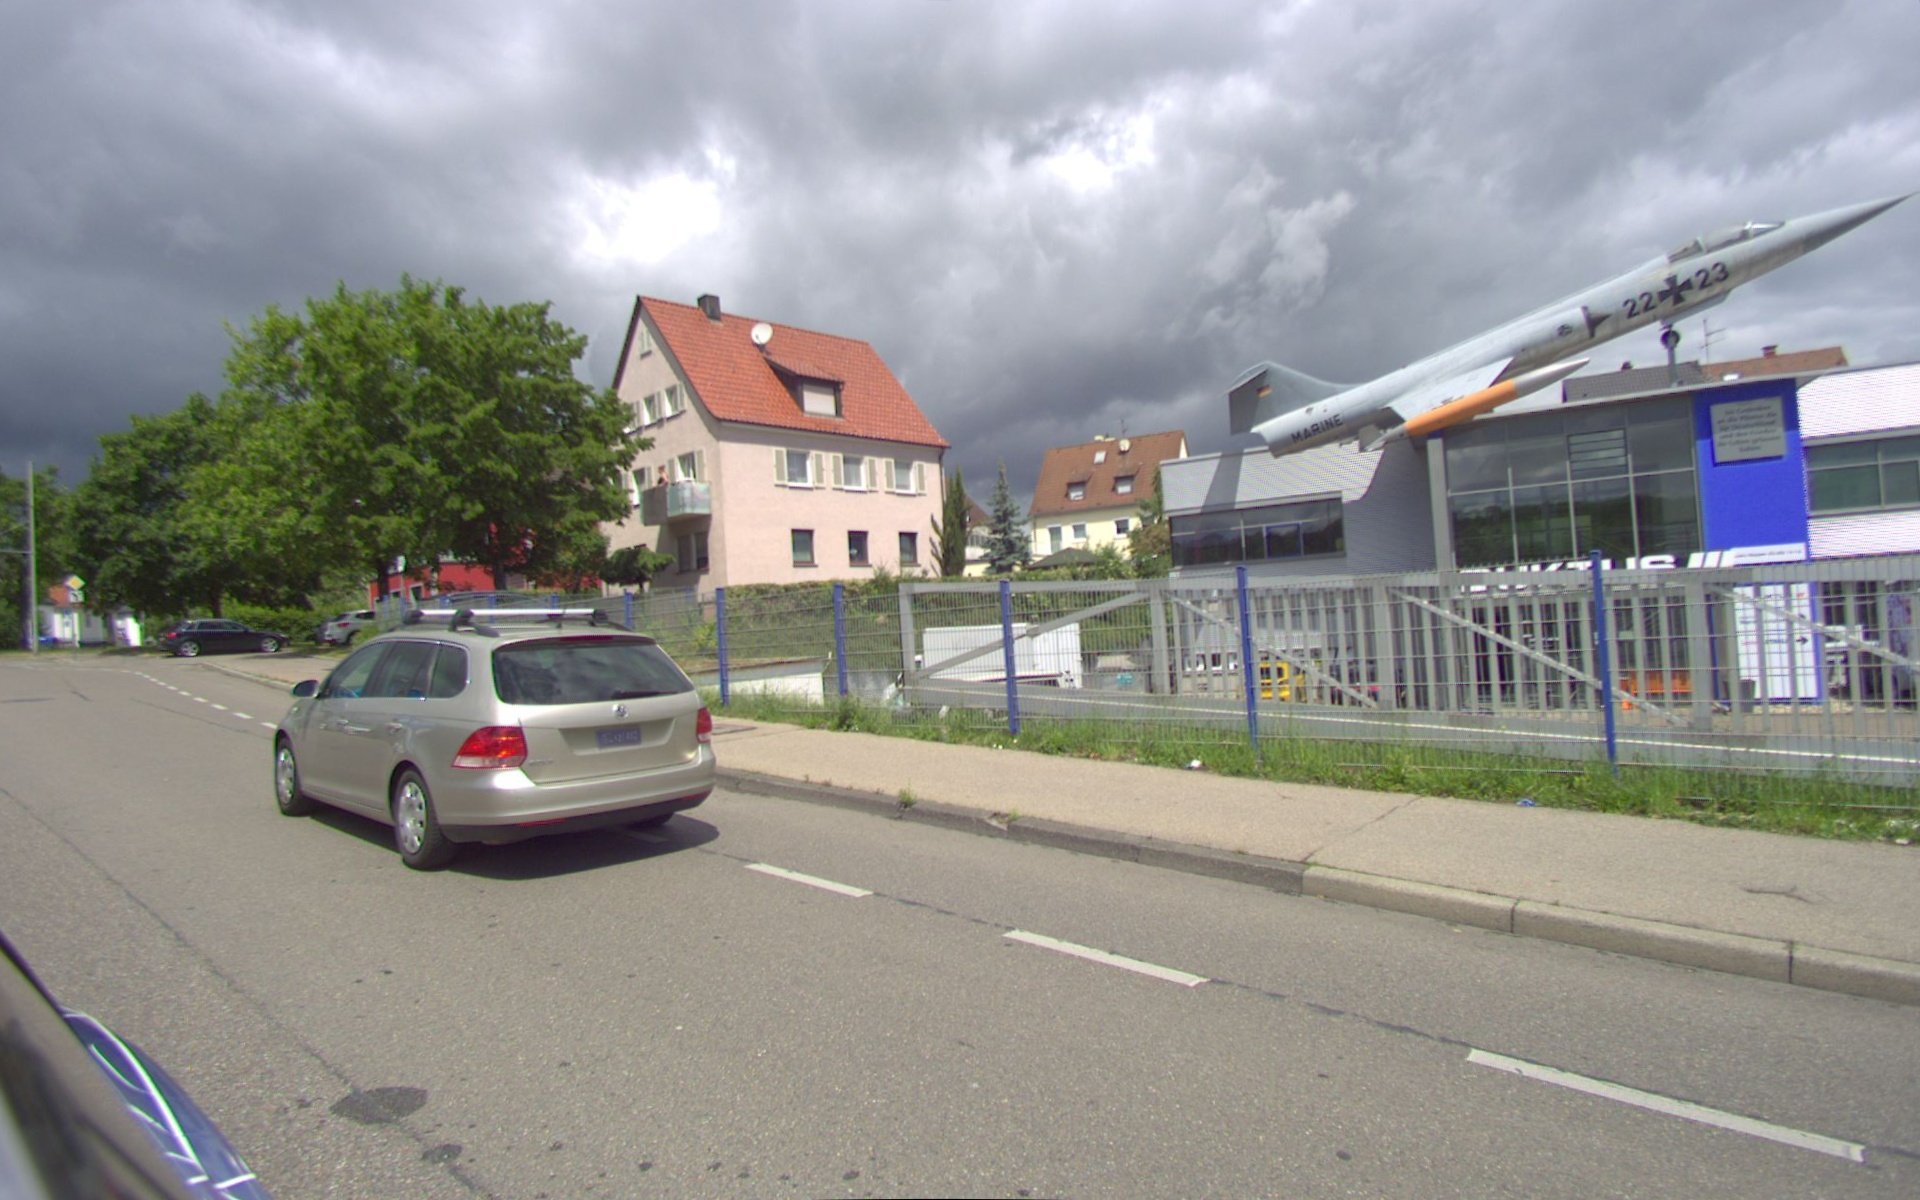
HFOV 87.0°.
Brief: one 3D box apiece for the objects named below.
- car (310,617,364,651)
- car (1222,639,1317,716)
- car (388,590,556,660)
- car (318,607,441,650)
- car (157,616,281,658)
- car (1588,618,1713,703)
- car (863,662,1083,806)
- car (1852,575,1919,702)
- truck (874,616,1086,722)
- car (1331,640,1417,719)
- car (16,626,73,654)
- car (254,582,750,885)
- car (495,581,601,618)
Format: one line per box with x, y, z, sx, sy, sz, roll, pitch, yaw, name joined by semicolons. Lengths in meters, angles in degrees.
-29.839;1.581;48.427;1.562;1.517;3.864;-1;0;-42;car
9.364;2.270;30.352;1.916;1.712;4.582;-5;0;26;car
-13.413;0.641;28.001;1.521;1.789;3.906;-1;0;38;car
-22.318;1.077;38.988;1.586;1.517;3.806;-1;0;42;car
-29.340;1.425;40.141;3.803;1.517;1.587;-1;0;-45;car
17.626;1.497;26.062;1.849;1.790;4.581;-5;-2;26;car
0.333;2.266;18.247;1.851;2.029;3.945;-1;0;41;car
22.097;0.760;22.669;1.984;2.620;4.685;-6;-2;29;car
0.434;1.898;30.243;2.290;2.753;6.597;-1;0;-45;truck
11.931;2.205;28.978;1.849;1.790;4.581;-5;-2;26;car
-71.190;3.052;78.802;1.928;1.984;5.148;-1;0;-26;car
-3.446;0.699;7.181;4.220;1.544;1.625;-1;0;42;car
-17.783;-0.022;43.820;3.961;1.517;1.587;-1;0;-45;car
